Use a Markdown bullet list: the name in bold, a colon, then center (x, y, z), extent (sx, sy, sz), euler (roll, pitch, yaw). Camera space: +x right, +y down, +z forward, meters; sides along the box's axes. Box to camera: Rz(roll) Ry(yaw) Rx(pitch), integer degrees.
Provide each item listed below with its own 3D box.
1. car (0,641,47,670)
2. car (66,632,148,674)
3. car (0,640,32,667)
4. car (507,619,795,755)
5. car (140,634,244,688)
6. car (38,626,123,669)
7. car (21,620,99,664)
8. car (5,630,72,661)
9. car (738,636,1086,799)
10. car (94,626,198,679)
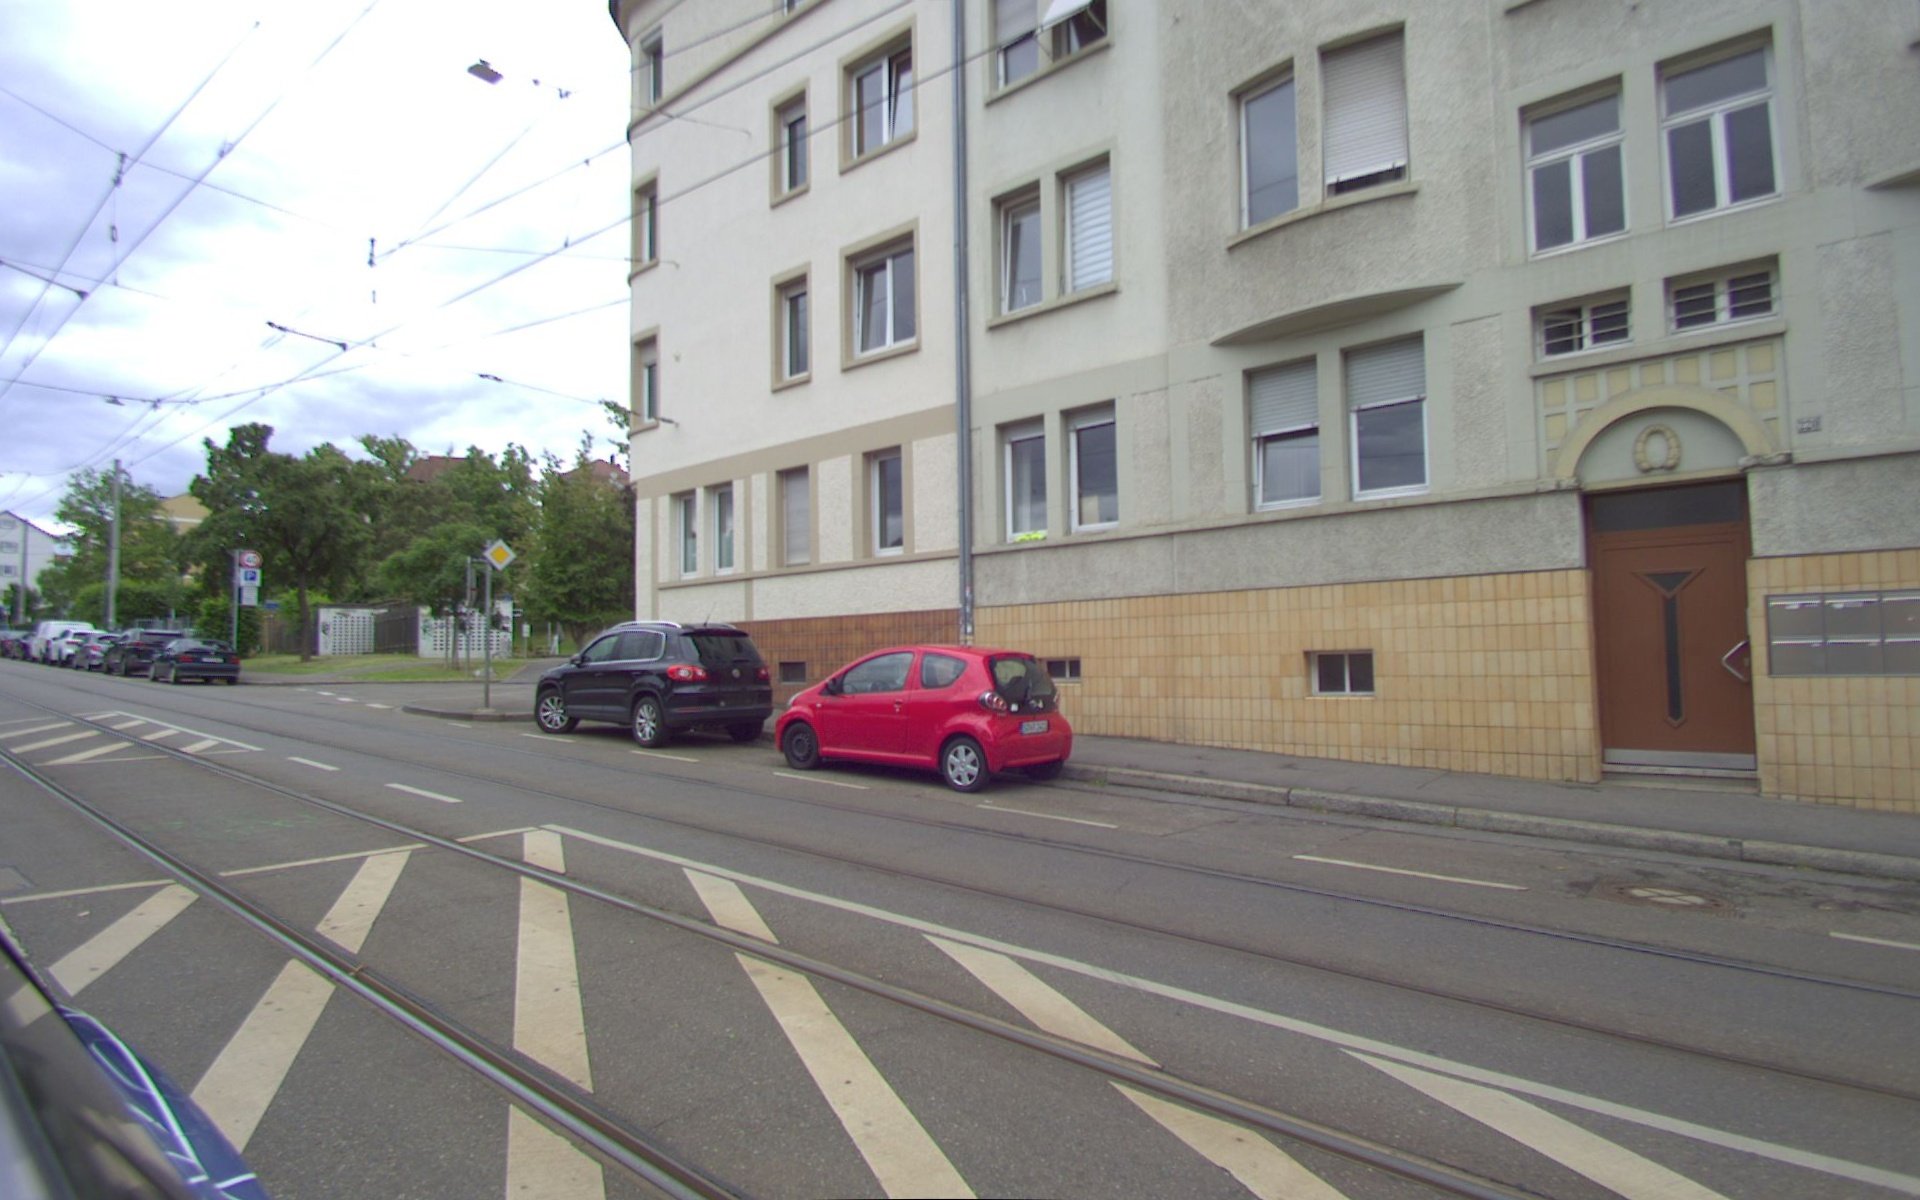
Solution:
- **car**: center (-51.005, 2.974, 54.661), extent (4.436, 1.398, 1.821), euler (0, -3, 40)
- **car**: center (-33.276, 2.043, 39.458), extent (3.866, 1.520, 1.721), euler (0, -3, 40)
- **car**: center (-55.244, 3.063, 58.490), extent (4.158, 1.415, 1.772), euler (0, -3, 40)
- **car**: center (-4.592, 1.151, 14.735), extent (4.398, 1.658, 1.849), euler (0, -3, 40)
- **car**: center (-23.749, 1.846, 31.248), extent (4.152, 1.489, 1.604), euler (0, -3, 40)
- **car**: center (-37.548, 2.021, 43.175), extent (4.629, 1.699, 1.949), euler (0, -3, 40)
- **car**: center (-41.856, 1.929, 47.032), extent (4.731, 1.927, 1.949), euler (0, -3, 40)
- **car**: center (-46.259, 2.275, 50.755), extent (4.514, 1.398, 1.821), euler (0, -3, 40)
- **car**: center (-0.615, 1.196, 11.413), extent (3.739, 1.474, 1.606), euler (0, -3, 37)
- **car**: center (-28.622, 1.827, 35.543), extent (4.440, 1.699, 1.949), euler (0, -3, 40)
